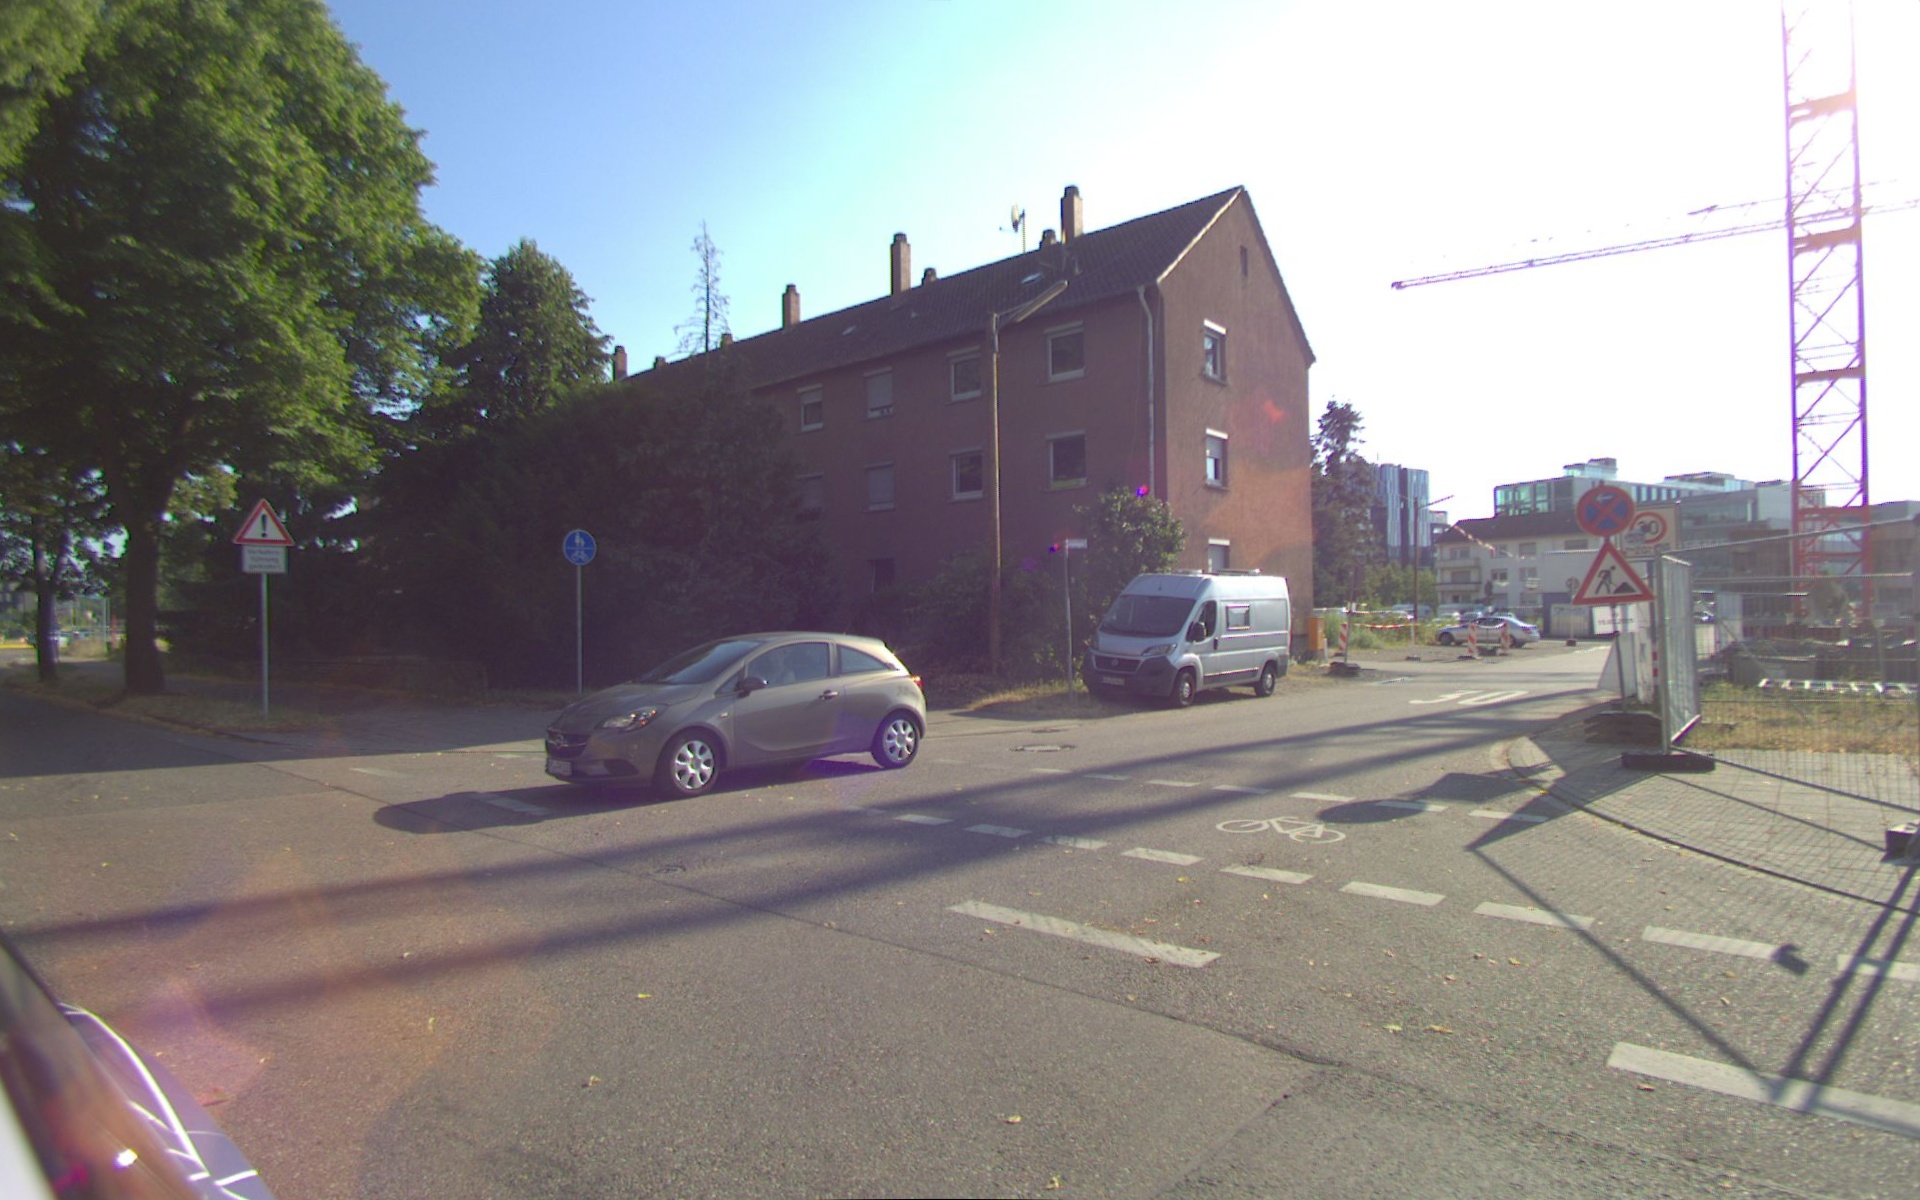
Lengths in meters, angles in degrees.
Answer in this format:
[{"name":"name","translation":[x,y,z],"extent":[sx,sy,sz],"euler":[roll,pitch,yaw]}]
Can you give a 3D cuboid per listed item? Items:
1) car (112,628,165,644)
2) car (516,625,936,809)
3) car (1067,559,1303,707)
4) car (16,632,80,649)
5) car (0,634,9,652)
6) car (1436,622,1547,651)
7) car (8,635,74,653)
[{"name":"car","translation":[-84.738,3.716,104.460],"extent":[1.763,1.542,3.976],"euler":[-1,-2,18]},{"name":"car","translation":[-2.183,1.017,10.129],"extent":[3.799,1.484,1.652],"euler":[2,-3,-44]},{"name":"car","translation":[4.623,0.590,20.179],"extent":[2.169,2.486,5.250],"euler":[5,2,42]},{"name":"car","translation":[-84.670,3.782,93.986],"extent":[1.988,1.542,3.967],"euler":[-1,-2,24]},{"name":"car","translation":[-81.059,3.539,82.901],"extent":[1.995,1.542,4.218],"euler":[-1,-2,34]},{"name":"car","translation":[25.487,1.744,48.638],"extent":[4.363,1.352,1.971],"euler":[-2,-2,44]},{"name":"car","translation":[-82.644,3.937,91.085],"extent":[1.984,1.542,3.976],"euler":[-1,-2,18]}]
